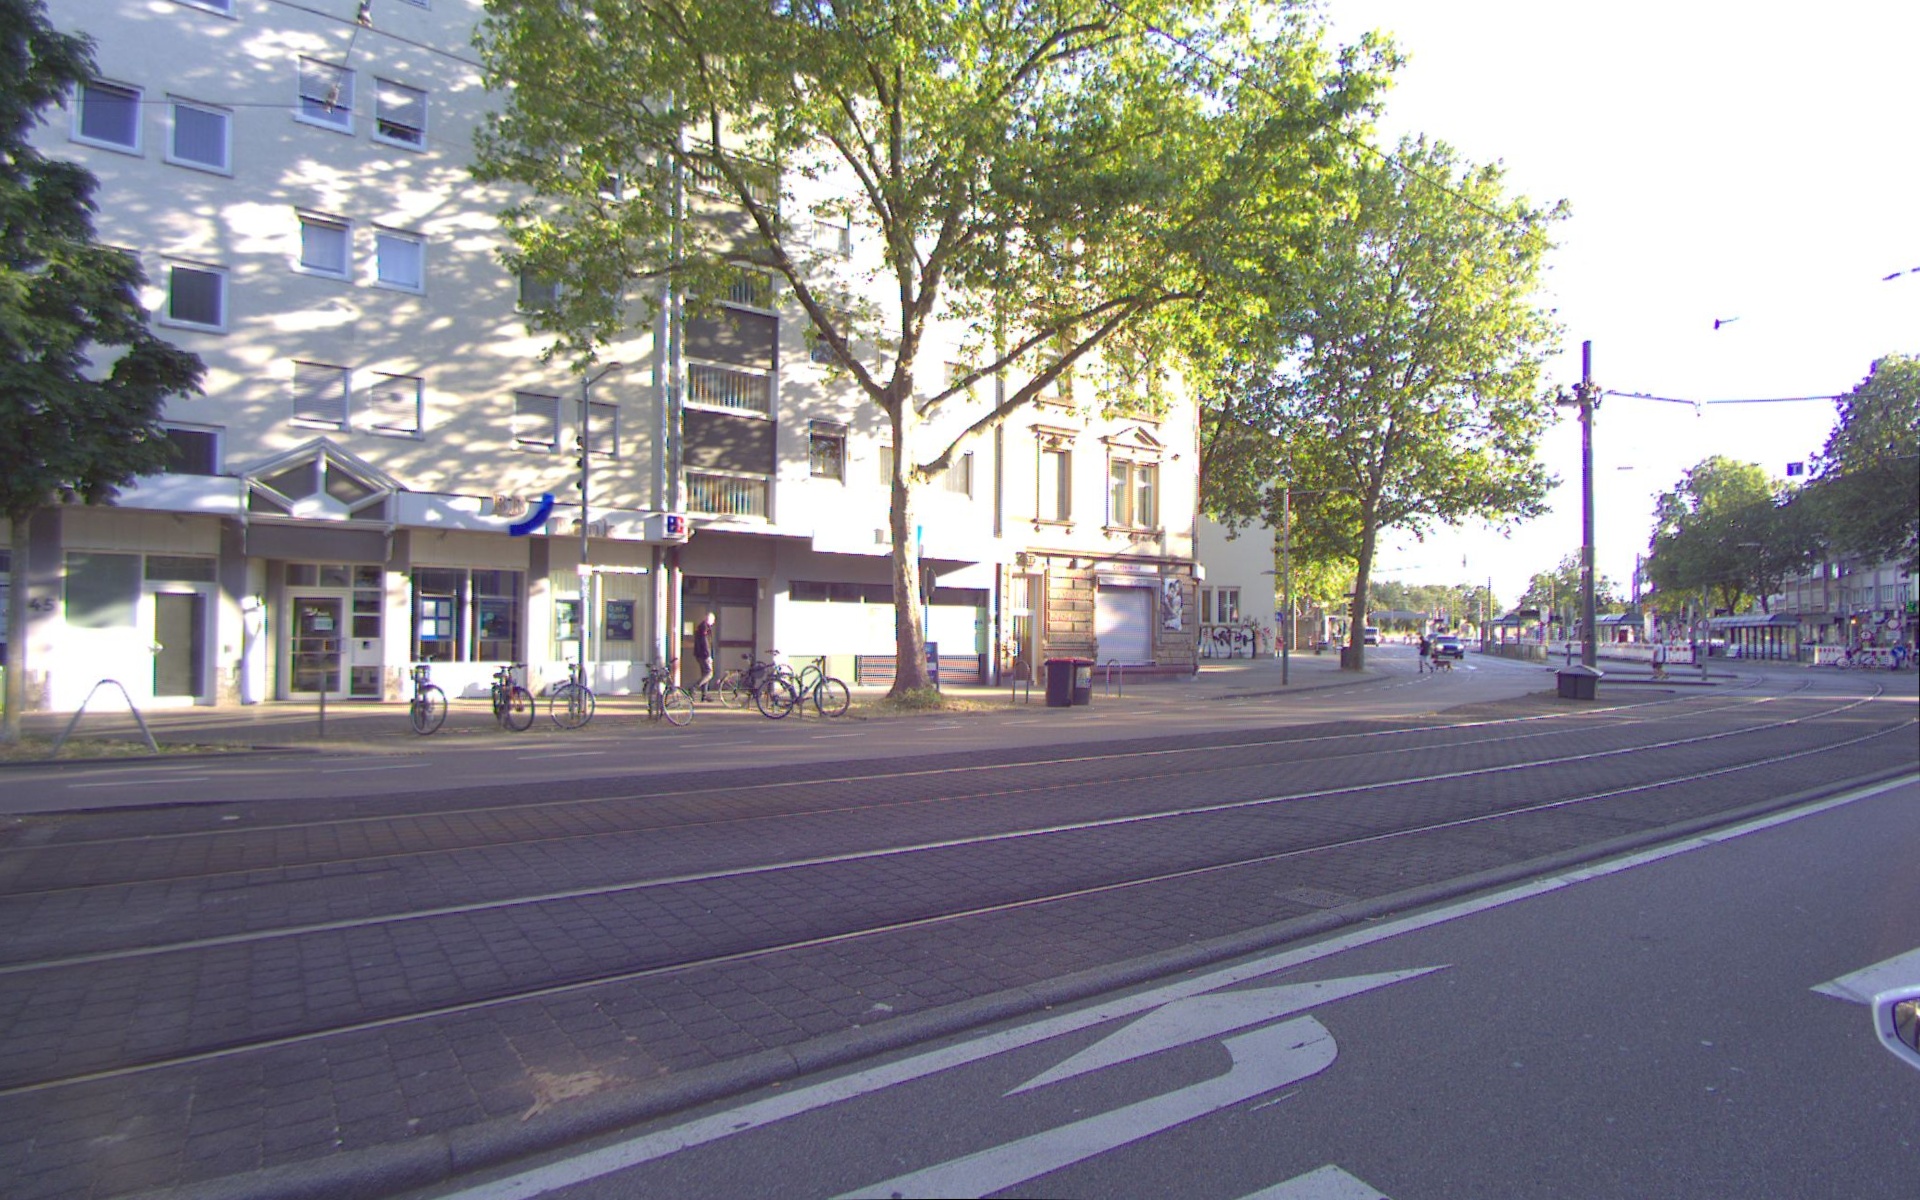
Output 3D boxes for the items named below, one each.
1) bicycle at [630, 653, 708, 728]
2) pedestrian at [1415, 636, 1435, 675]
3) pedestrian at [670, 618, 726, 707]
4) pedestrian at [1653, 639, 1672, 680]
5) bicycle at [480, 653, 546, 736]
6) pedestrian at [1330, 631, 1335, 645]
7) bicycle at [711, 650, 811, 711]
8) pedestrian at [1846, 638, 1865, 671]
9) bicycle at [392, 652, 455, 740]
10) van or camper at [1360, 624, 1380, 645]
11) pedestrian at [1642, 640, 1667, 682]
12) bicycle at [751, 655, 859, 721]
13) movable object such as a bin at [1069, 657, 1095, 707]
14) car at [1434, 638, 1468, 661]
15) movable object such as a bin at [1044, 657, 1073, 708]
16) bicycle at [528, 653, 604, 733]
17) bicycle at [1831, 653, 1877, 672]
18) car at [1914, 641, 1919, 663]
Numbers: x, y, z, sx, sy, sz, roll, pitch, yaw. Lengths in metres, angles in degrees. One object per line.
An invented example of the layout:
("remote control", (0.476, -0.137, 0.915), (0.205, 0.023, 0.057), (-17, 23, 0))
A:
("bicycle", (-4.973, 1.505, 17.116), (0.646, 1.139, 1.880), (2, -1, -36))
("pedestrian", (21.307, 2.542, 46.018), (0.663, 1.733, 0.431), (2, 0, 2))
("pedestrian", (-5.459, 1.291, 20.951), (0.959, 1.811, 0.615), (2, 0, -31))
("pedestrian", (26.413, 2.240, 37.765), (0.510, 1.524, 0.407), (1, -2, -24))
("bicycle", (-6.970, 1.424, 15.622), (0.529, 1.139, 1.880), (2, -1, -36))
("pedestrian", (42.099, 4.320, 113.368), (0.507, 1.524, 0.558), (0, -2, 23))
("bicycle", (-3.950, 1.582, 20.032), (1.891, 1.139, 0.505), (2, -1, -34))
("pedestrian", (47.376, 2.867, 53.147), (0.712, 1.748, 0.397), (-1, -2, 45))
("bicycle", (-7.963, 1.382, 14.874), (0.529, 1.139, 1.880), (2, -1, -36))
("van or camper", (48.377, 4.121, 118.454), (2.133, 2.349, 5.102), (-2, -3, 23))
("pedestrian", (25.897, 2.276, 37.470), (0.585, 1.524, 0.519), (1, -2, -23))
("bicycle", (-2.802, 1.572, 18.236), (1.891, 1.139, 0.505), (2, -1, -34))
("movable object such as a bin", (2.772, 1.855, 22.852), (0.562, 1.108, 0.477), (0, -2, 5))
("car", (32.936, 3.296, 67.397), (1.856, 1.492, 4.205), (0, -2, 24))
("movable object such as a bin", (2.176, 1.813, 22.236), (0.634, 1.108, 0.546), (0, -2, 5))
("bicycle", (-6.332, 1.453, 16.095), (0.646, 1.139, 1.880), (2, -1, -36))
("bicycle", (47.655, 3.317, 53.536), (0.461, 0.955, 1.822), (2, -2, -45))
("car", (64.531, 3.417, 65.864), (1.635, 1.488, 3.412), (-3, -3, 22))
